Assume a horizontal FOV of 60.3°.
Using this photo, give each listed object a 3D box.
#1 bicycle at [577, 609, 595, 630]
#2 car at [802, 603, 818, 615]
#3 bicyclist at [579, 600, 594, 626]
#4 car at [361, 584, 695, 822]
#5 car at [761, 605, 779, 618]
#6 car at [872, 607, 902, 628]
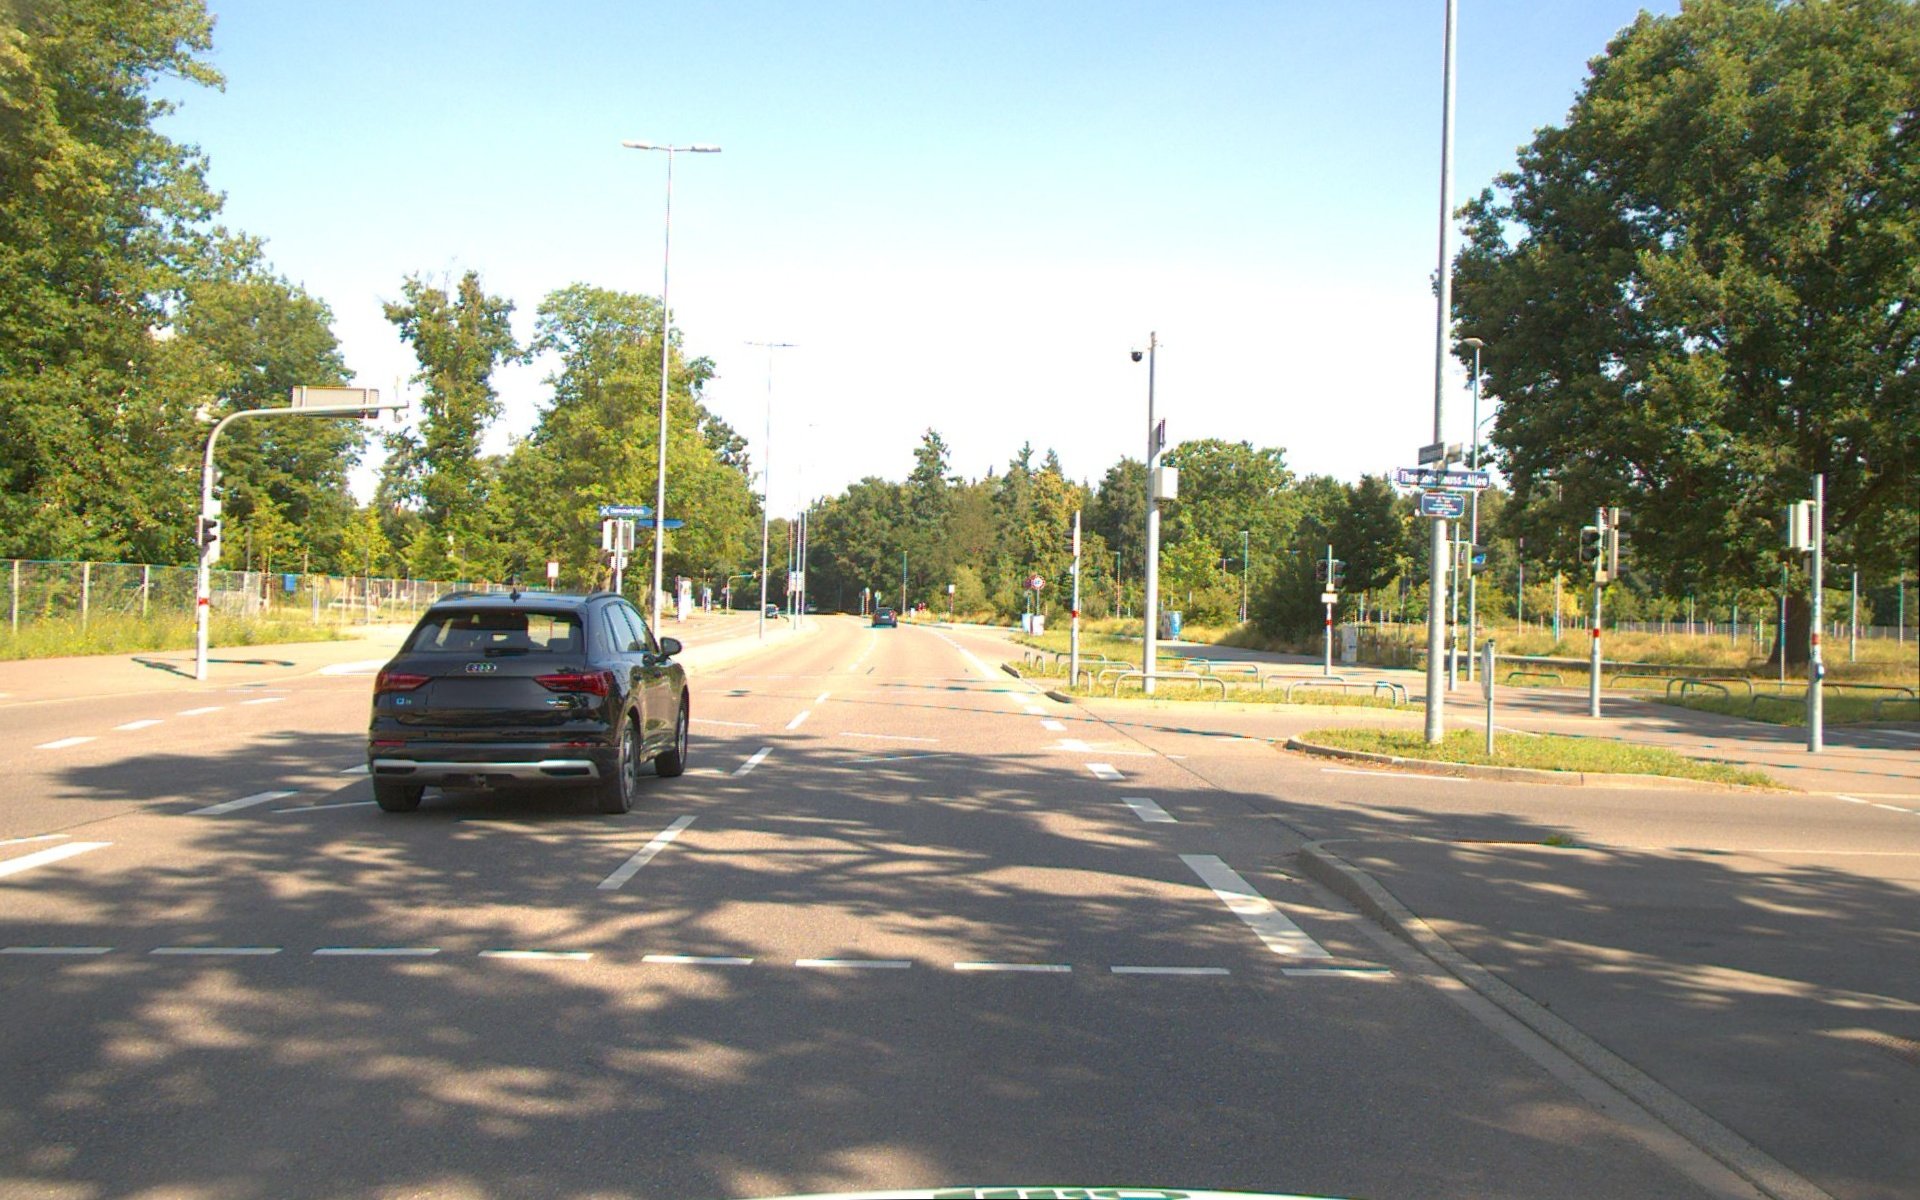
[{"bbox_3d":[-21.487,1.114,94.998,0.646,1.155,1.877,3,0,-4],"label":"bicycle"},{"bbox_3d":[-23.500,1.382,259.183,1.959,1.780,3.987,1,-1,-13],"label":"car"},{"bbox_3d":[-21.458,0.750,95.050,0.646,1.493,1.056,3,-1,-4],"label":"bicyclist"},{"bbox_3d":[-3.185,0.686,13.002,1.654,1.571,4.147,0,0,-2],"label":"car"},{"bbox_3d":[-21.600,1.284,188.128,1.778,1.412,4.151,-1,0,-10],"label":"car"},{"bbox_3d":[-5.333,1.250,120.601,1.903,1.445,4.287,1,0,-6],"label":"car"}]
